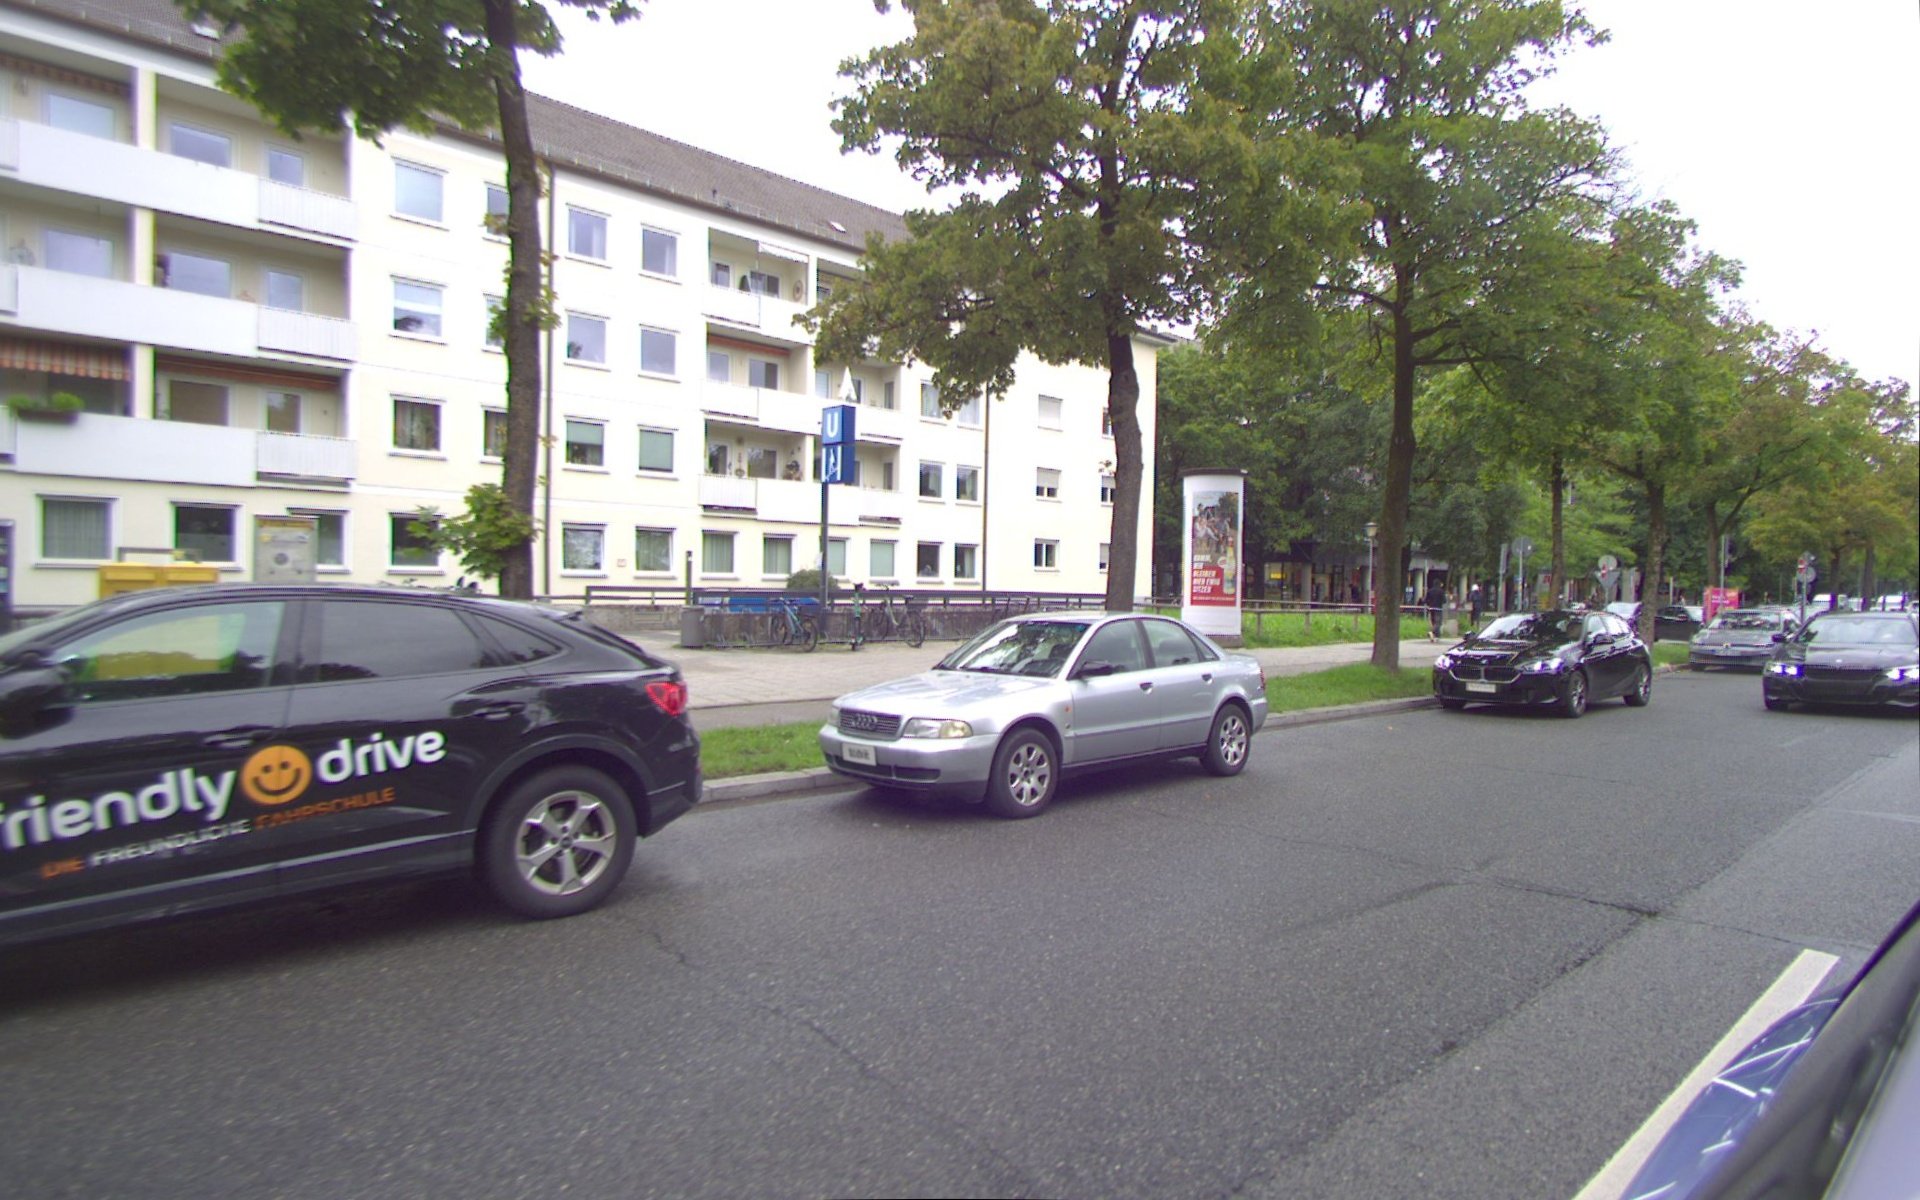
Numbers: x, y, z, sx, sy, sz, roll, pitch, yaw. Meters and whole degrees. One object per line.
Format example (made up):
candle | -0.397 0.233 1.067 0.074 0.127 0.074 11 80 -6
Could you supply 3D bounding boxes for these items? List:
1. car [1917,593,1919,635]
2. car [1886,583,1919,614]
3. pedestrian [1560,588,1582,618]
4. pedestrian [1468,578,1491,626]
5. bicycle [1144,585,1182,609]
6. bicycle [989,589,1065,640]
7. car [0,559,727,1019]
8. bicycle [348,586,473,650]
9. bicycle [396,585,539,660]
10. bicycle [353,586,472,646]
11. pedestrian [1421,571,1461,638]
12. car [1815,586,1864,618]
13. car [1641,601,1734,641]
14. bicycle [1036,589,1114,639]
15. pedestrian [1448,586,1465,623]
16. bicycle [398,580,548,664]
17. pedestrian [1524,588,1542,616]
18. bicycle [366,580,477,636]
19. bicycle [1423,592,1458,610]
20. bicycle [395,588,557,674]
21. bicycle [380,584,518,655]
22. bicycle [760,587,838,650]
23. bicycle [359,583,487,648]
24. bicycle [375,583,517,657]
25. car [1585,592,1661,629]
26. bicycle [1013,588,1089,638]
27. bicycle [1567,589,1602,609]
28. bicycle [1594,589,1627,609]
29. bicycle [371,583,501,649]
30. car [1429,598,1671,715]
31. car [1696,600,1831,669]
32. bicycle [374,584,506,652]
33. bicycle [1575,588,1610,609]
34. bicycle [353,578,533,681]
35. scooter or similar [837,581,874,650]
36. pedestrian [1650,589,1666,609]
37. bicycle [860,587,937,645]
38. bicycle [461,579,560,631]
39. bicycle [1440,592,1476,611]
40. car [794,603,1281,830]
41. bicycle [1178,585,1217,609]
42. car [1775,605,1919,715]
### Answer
car | 47.351 0.672 48.326 4.846 1.952 1.884 0 -1 -41
car | 83.557 -0.127 89.320 5.900 2.691 1.976 0 -1 -41
pedestrian | 33.420 0.146 55.387 0.738 1.613 0.661 1 2 -22
pedestrian | 19.348 0.072 37.723 0.632 1.752 0.598 0 0 14
bicycle | 9.101 -0.143 45.361 0.448 0.983 1.693 1 1 -43
bicycle | 1.472 0.303 22.514 0.425 1.041 1.880 0 2 -43
car | -3.337 0.641 4.470 4.200 1.552 1.720 0 -1 -40
bicycle | -9.555 0.305 17.639 1.850 1.041 0.432 1 1 -40
bicycle | -7.263 0.324 14.984 1.850 1.041 0.432 1 1 -40
bicycle | -9.983 0.285 18.494 1.850 1.041 0.432 1 1 -40
pedestrian | 13.104 0.123 27.570 0.835 1.771 0.640 1 2 -43
car | 73.595 0.193 84.661 5.754 2.560 2.267 0 1 -40
car | 26.889 0.750 37.346 4.273 1.397 1.726 0 0 -39
bicycle | 2.625 0.306 23.314 1.877 1.041 0.426 3 2 43
pedestrian | 22.049 0.199 44.974 0.572 1.594 0.777 0 0 18
bicycle | -6.886 0.296 14.380 1.850 1.115 0.432 1 1 -40
pedestrian | 33.275 0.114 58.779 0.620 1.561 0.661 2 2 0
bicycle | -10.422 0.153 19.630 1.850 1.041 0.432 1 1 -40
bicycle | 30.979 0.042 65.270 0.447 1.134 2.079 1 1 -40
bicycle | -6.308 0.388 13.268 1.850 1.041 0.432 1 1 -40
bicycle | -7.933 0.294 15.772 1.850 1.041 0.432 1 1 -40
bicycle | -2.972 0.317 18.539 0.425 1.041 1.880 0 2 -43
bicycle | -9.051 0.257 17.120 1.850 1.041 0.432 1 1 -40
bicycle | -7.740 0.291 15.302 1.850 1.041 0.432 1 1 -40
car | 32.152 0.490 49.025 4.121 1.654 1.827 0 2 -38
bicycle | 2.062 0.269 23.134 1.878 1.041 0.426 3 2 45
bicycle | 49.744 -0.093 80.655 0.638 1.551 2.312 1 1 -40
bicycle | 54.787 -0.063 85.308 2.299 1.643 0.641 2 1 34
bicycle | -8.673 0.254 16.792 1.850 1.041 0.432 1 1 -40
car | 8.684 0.722 14.767 4.101 1.484 1.754 0 -1 -39
car | 18.950 0.753 23.816 4.041 1.484 1.685 0 -1 -39
bicycle | -8.394 0.278 16.389 1.850 1.041 0.432 1 1 -40
bicycle | 51.245 -0.149 82.024 0.638 1.643 2.312 1 1 -40
bicycle | -6.147 0.342 12.114 1.850 1.147 0.432 1 1 -40
scooter or similar | -1.914 0.265 18.730 0.352 1.215 1.388 1 1 7
pedestrian | 61.487 -0.096 89.143 0.754 1.719 0.876 0 2 -26
bicycle | -1.256 0.300 20.182 0.425 1.041 1.880 0 2 -43
bicycle | -9.459 0.110 21.361 1.850 1.041 0.432 1 1 -40
bicycle | 32.139 0.096 65.355 0.447 1.134 2.079 1 1 -40
car | 0.839 0.734 8.324 4.173 1.403 1.637 0 -1 -43
bicycle | 10.343 -0.123 44.079 0.448 0.983 1.693 1 1 -43
car | 13.686 0.791 15.037 4.385 1.431 1.761 0 -1 -42
